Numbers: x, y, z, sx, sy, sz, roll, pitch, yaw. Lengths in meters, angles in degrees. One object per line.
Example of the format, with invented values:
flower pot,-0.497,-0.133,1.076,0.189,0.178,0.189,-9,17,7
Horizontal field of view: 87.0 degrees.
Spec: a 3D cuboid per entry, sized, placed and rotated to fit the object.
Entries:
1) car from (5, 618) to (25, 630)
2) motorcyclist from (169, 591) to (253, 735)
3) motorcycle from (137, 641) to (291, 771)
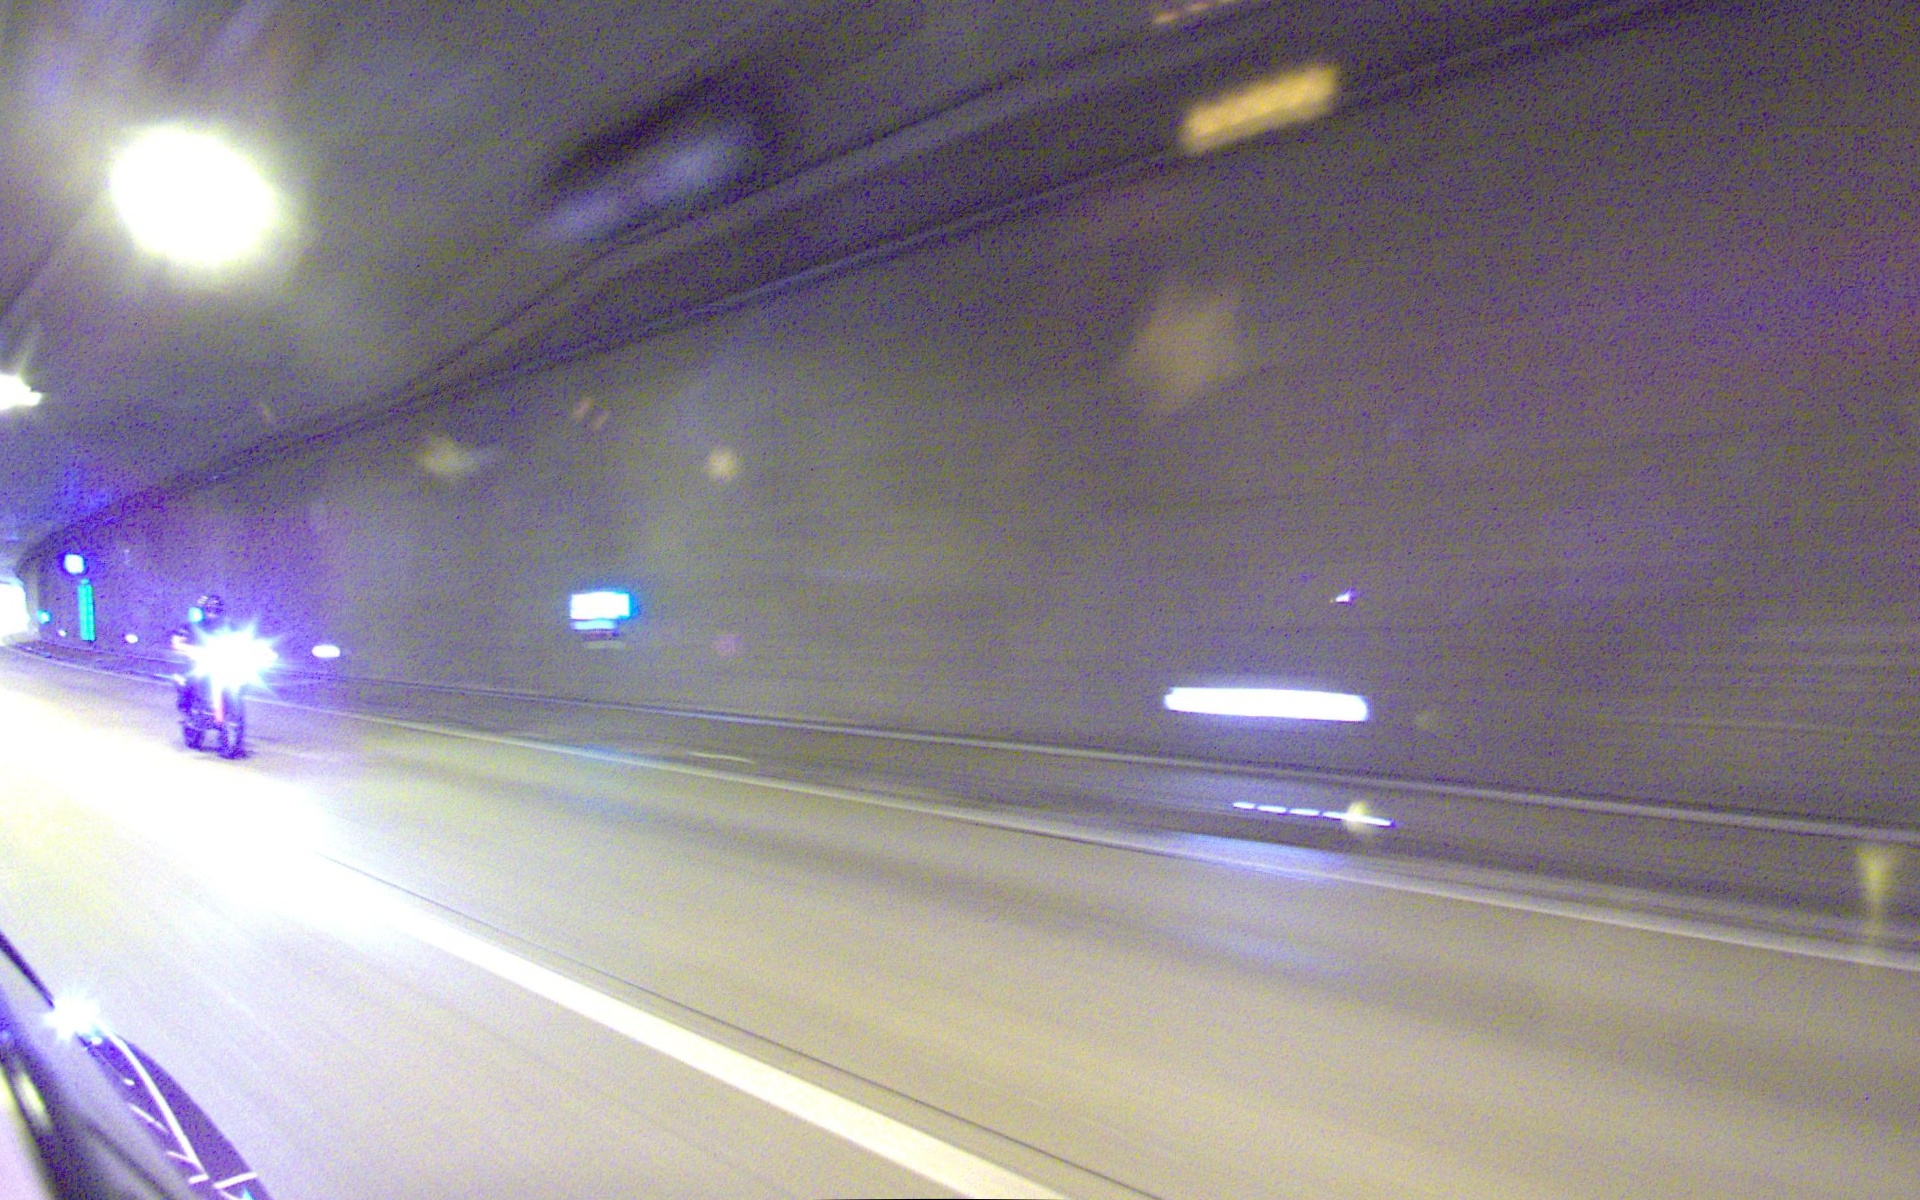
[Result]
car,-149.056,3.758,159.675,1.968,1.812,4.008,-2,1,-39
motorcyclist,-8.170,0.658,11.037,0.619,1.500,0.891,0,-1,-44
motorcycle,-8.091,1.061,10.920,1.041,1.166,2.430,0,-1,-44
